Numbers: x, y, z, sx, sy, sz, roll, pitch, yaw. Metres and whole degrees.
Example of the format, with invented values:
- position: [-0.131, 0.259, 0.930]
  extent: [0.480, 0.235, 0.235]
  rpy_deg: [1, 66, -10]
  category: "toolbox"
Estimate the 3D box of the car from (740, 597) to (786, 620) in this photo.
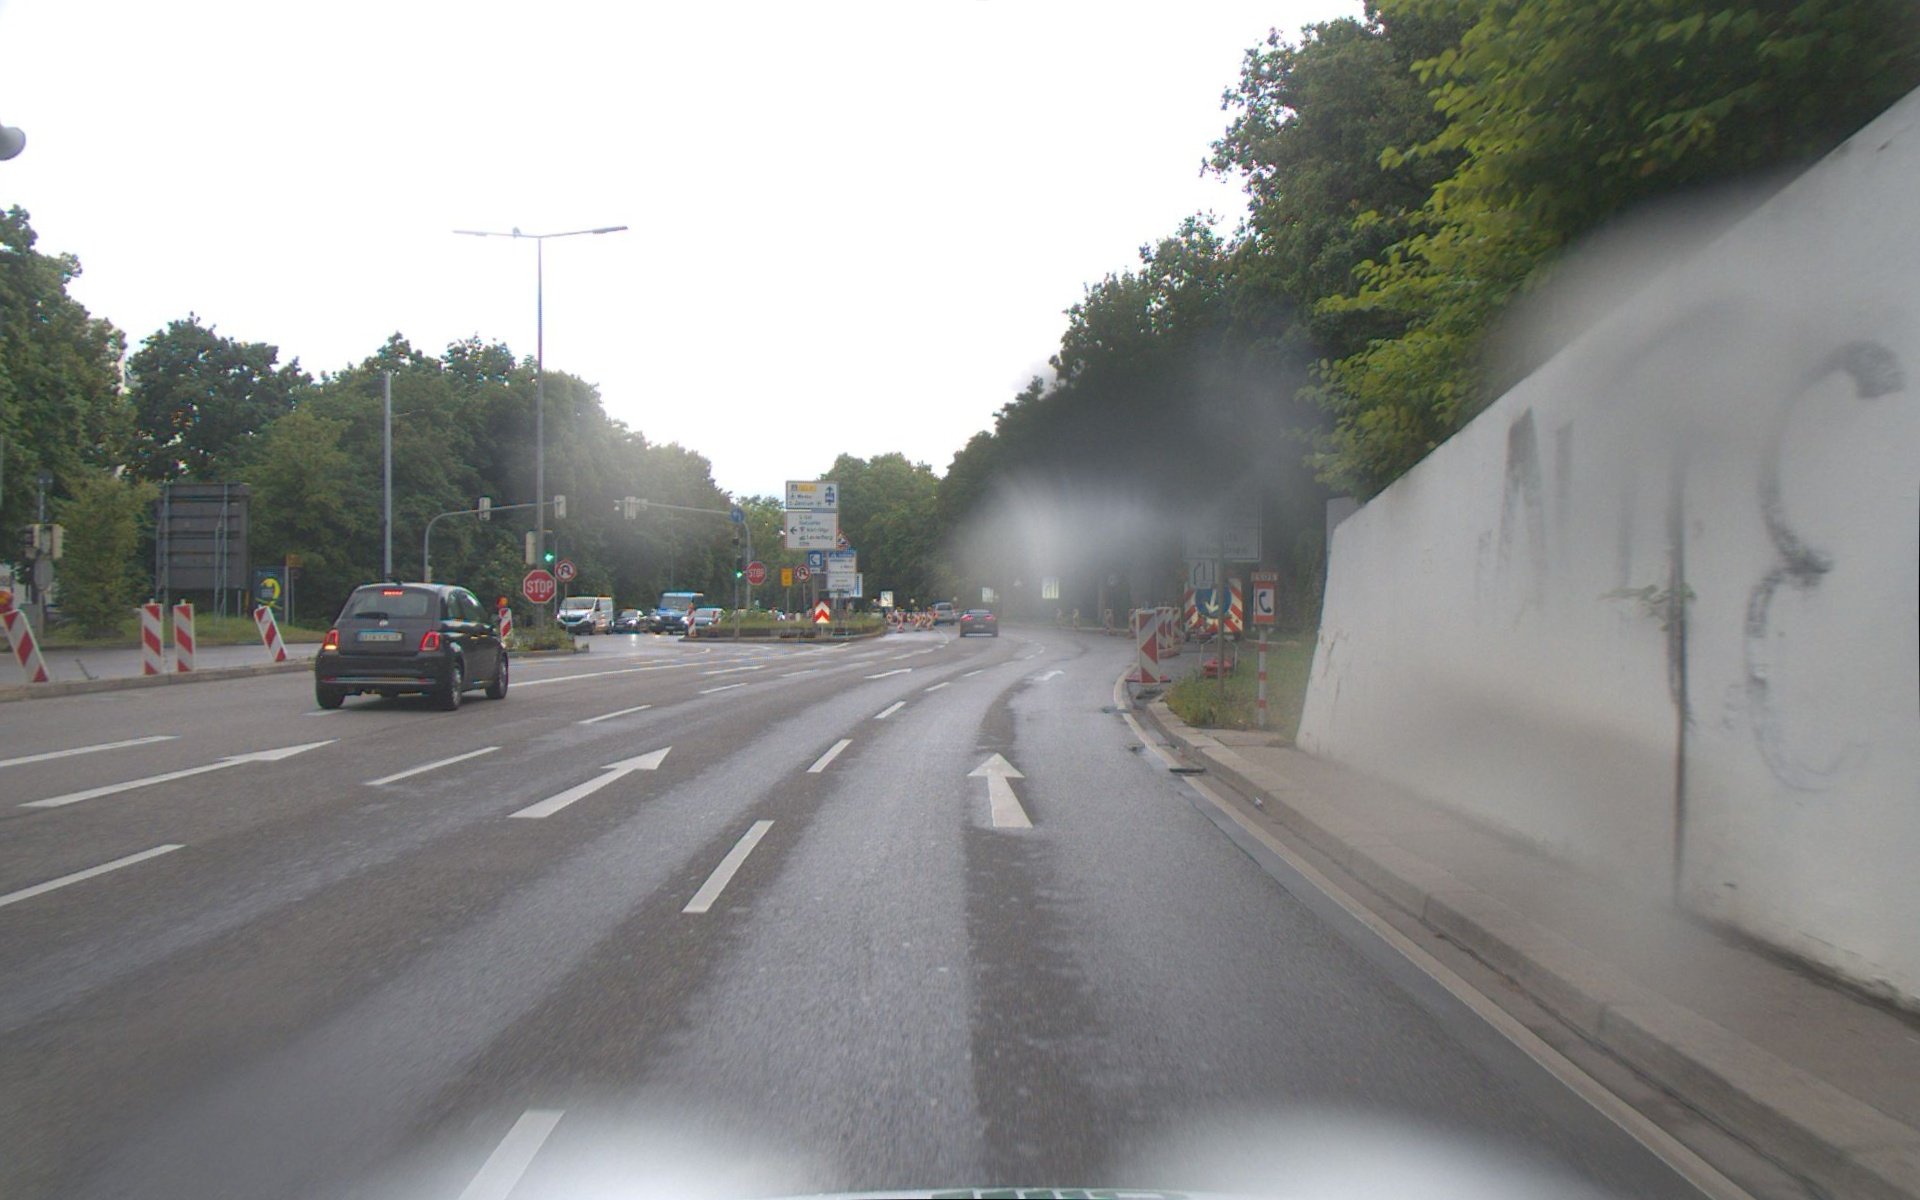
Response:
- position: [-11.497, 0.469, 96.809]
  extent: [1.967, 1.324, 4.317]
  rpy_deg: [0, 0, 3]
  category: "car"

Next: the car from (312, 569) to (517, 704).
- position: [-6.694, 0.384, 20.640]
  extent: [1.580, 1.479, 3.570]
  rpy_deg: [2, 1, -5]
  category: "car"

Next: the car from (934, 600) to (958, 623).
- position: [-1.326, 1.041, 154.285]
  extent: [1.954, 2.049, 3.997]
  rpy_deg: [1, 0, -4]
  category: "car"

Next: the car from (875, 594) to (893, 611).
- position: [-9.238, 0.310, 200.858]
  extent: [1.954, 2.049, 3.997]
  rpy_deg: [1, 0, -4]
  category: "car"

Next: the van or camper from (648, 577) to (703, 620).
- position: [-16.087, -0.075, 93.739]
  extent: [2.084, 2.390, 4.428]
  rpy_deg: [0, 0, 3]
  category: "van or camper"

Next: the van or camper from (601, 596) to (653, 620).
- position: [-19.016, 0.452, 94.564]
  extent: [1.967, 1.324, 4.093]
  rpy_deg: [0, 0, 3]
  category: "van or camper"

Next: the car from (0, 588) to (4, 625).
- position: [-45.517, 0.384, 75.251]
  extent: [1.854, 1.713, 3.998]
  rpy_deg: [0, 2, -4]
  category: "car"

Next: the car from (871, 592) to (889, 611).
- position: [-9.028, 0.180, 186.922]
  extent: [1.954, 2.049, 3.997]
  rpy_deg: [1, 0, -4]
  category: "car"

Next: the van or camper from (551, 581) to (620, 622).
- position: [-19.347, 0.086, 85.615]
  extent: [2.084, 2.049, 5.316]
  rpy_deg: [0, 0, 3]
  category: "van or camper"

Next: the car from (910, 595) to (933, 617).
- position: [-3.582, 0.562, 153.883]
  extent: [1.954, 2.049, 3.997]
  rpy_deg: [1, 0, -4]
  category: "car"

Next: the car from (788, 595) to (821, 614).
- position: [-11.103, 0.308, 118.431]
  extent: [1.968, 1.324, 4.315]
  rpy_deg: [0, 0, 0]
  category: "car"

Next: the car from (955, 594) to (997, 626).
- position: [0.803, 0.478, 79.308]
  extent: [1.952, 1.473, 4.315]
  rpy_deg: [0, 0, 1]
  category: "car"

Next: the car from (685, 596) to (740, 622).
- position: [-12.719, 0.463, 85.221]
  extent: [1.967, 1.324, 4.317]
  rpy_deg: [0, 0, 3]
  category: "car"

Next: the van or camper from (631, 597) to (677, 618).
- position: [-19.269, 0.456, 104.265]
  extent: [1.967, 1.324, 4.093]
  rpy_deg: [0, 0, 3]
  category: "van or camper"
